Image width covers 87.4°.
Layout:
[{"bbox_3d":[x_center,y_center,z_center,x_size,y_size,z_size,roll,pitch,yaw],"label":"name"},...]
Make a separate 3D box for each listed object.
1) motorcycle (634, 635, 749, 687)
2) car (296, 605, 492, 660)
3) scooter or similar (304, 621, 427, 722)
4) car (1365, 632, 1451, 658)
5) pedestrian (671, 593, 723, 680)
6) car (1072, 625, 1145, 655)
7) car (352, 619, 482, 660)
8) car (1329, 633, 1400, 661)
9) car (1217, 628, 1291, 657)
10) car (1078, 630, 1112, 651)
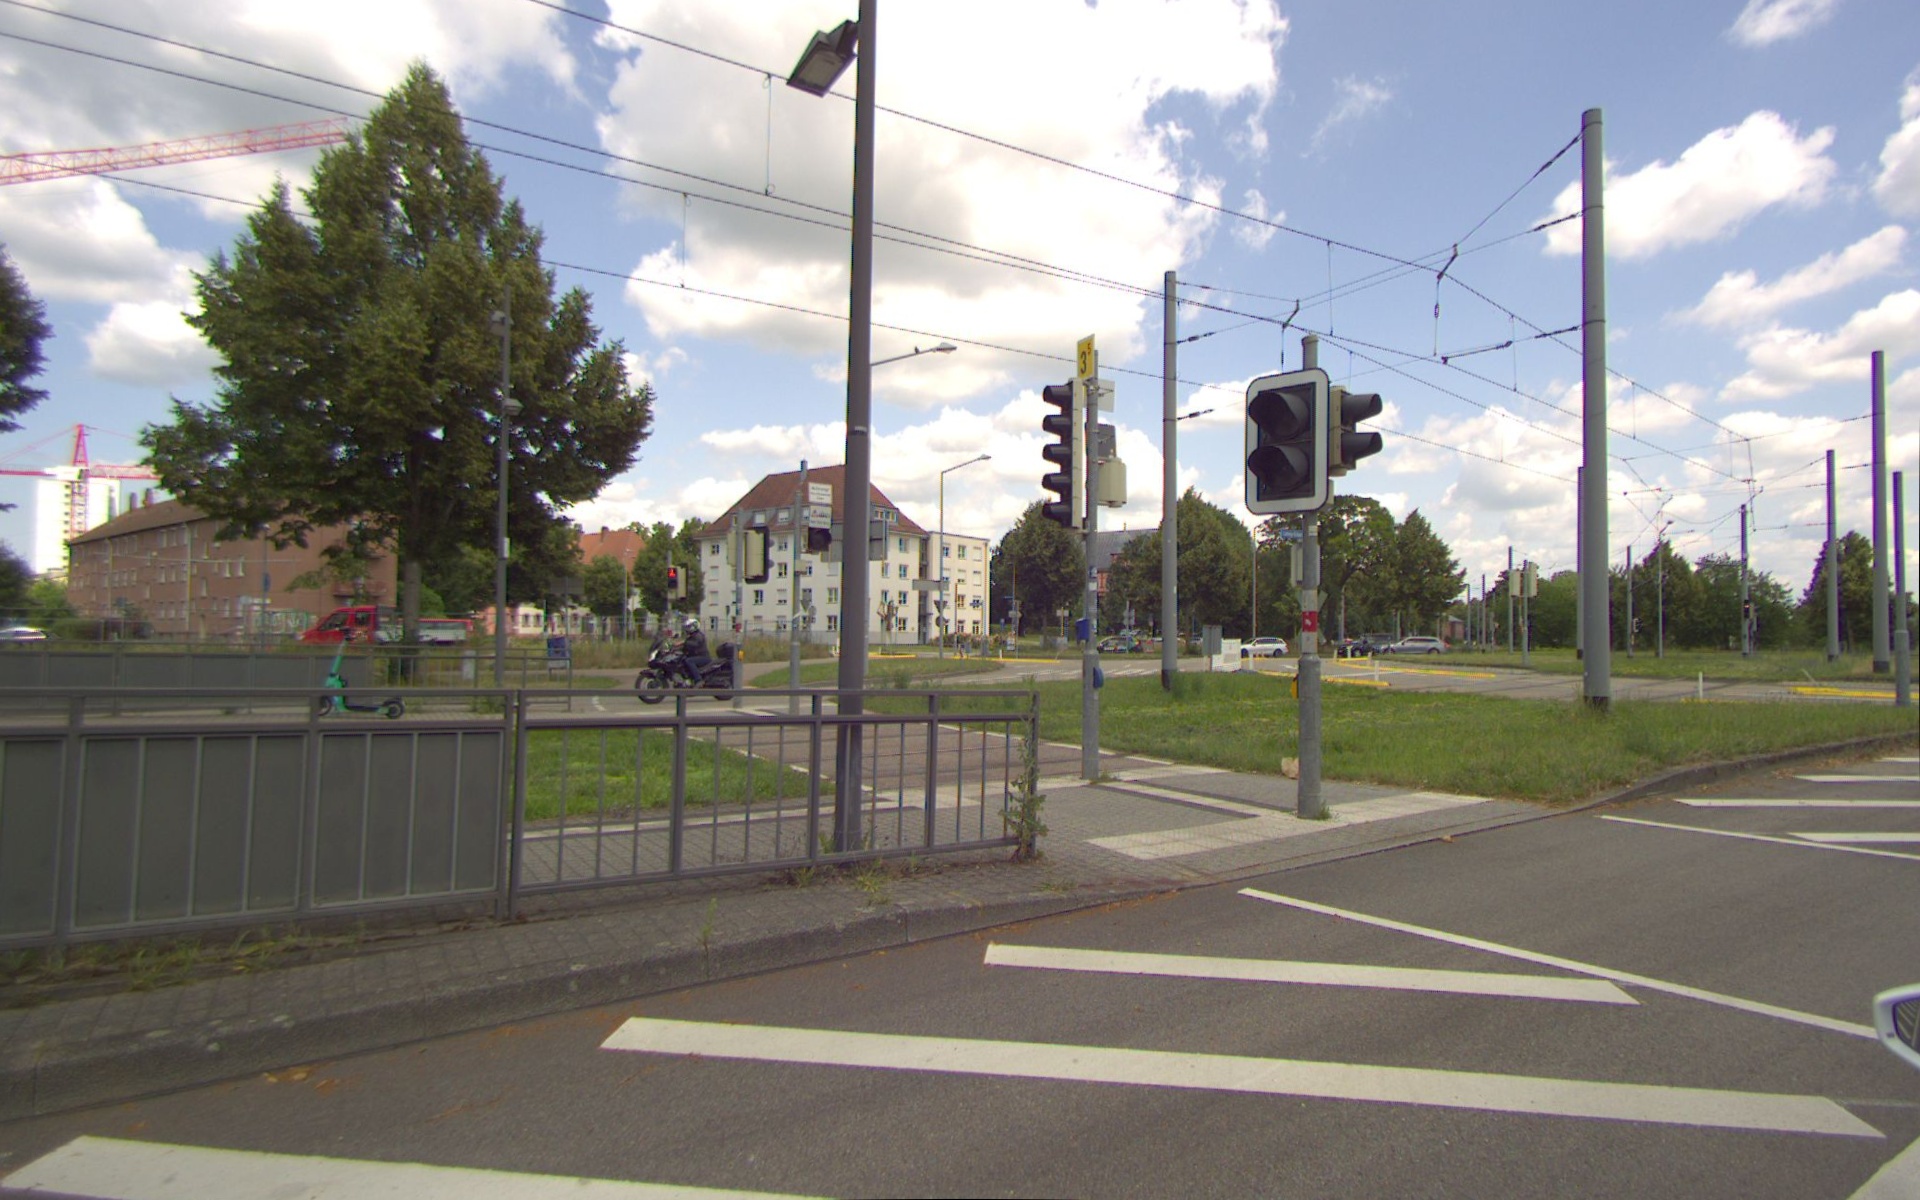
[{"bbox_3d":[-5.358,1.200,20.130,2.175,1.006,0.566,1,-2,-37],"label":"motorcycle"},{"bbox_3d":[-23.557,1.365,42.111,6.714,2.226,2.391,1,-2,-10],"label":"car"},{"bbox_3d":[-8.235,0.988,13.952,1.323,1.319,0.418,3,-2,-13],"label":"scooter or similar"},{"bbox_3d":[30.189,3.054,67.792,4.846,1.648,2.066,0,0,0],"label":"car"},{"bbox_3d":[-5.290,0.727,20.176,0.766,1.695,0.818,1,-2,-36],"label":"pedestrian"},{"bbox_3d":[10.316,2.756,69.762,4.639,2.040,1.997,0,-1,-9],"label":"car"},{"bbox_3d":[-26.164,1.905,48.608,5.096,1.876,2.082,1,-2,-14],"label":"car"},{"bbox_3d":[29.694,3.423,73.787,4.652,2.040,1.992,1,-2,-19],"label":"car"},{"bbox_3d":[20.810,2.998,71.135,4.644,2.040,1.995,1,-1,-13],"label":"car"},{"bbox_3d":[13.852,4.128,102.765,1.965,2.040,3.991,-1,-2,31],"label":"car"}]
